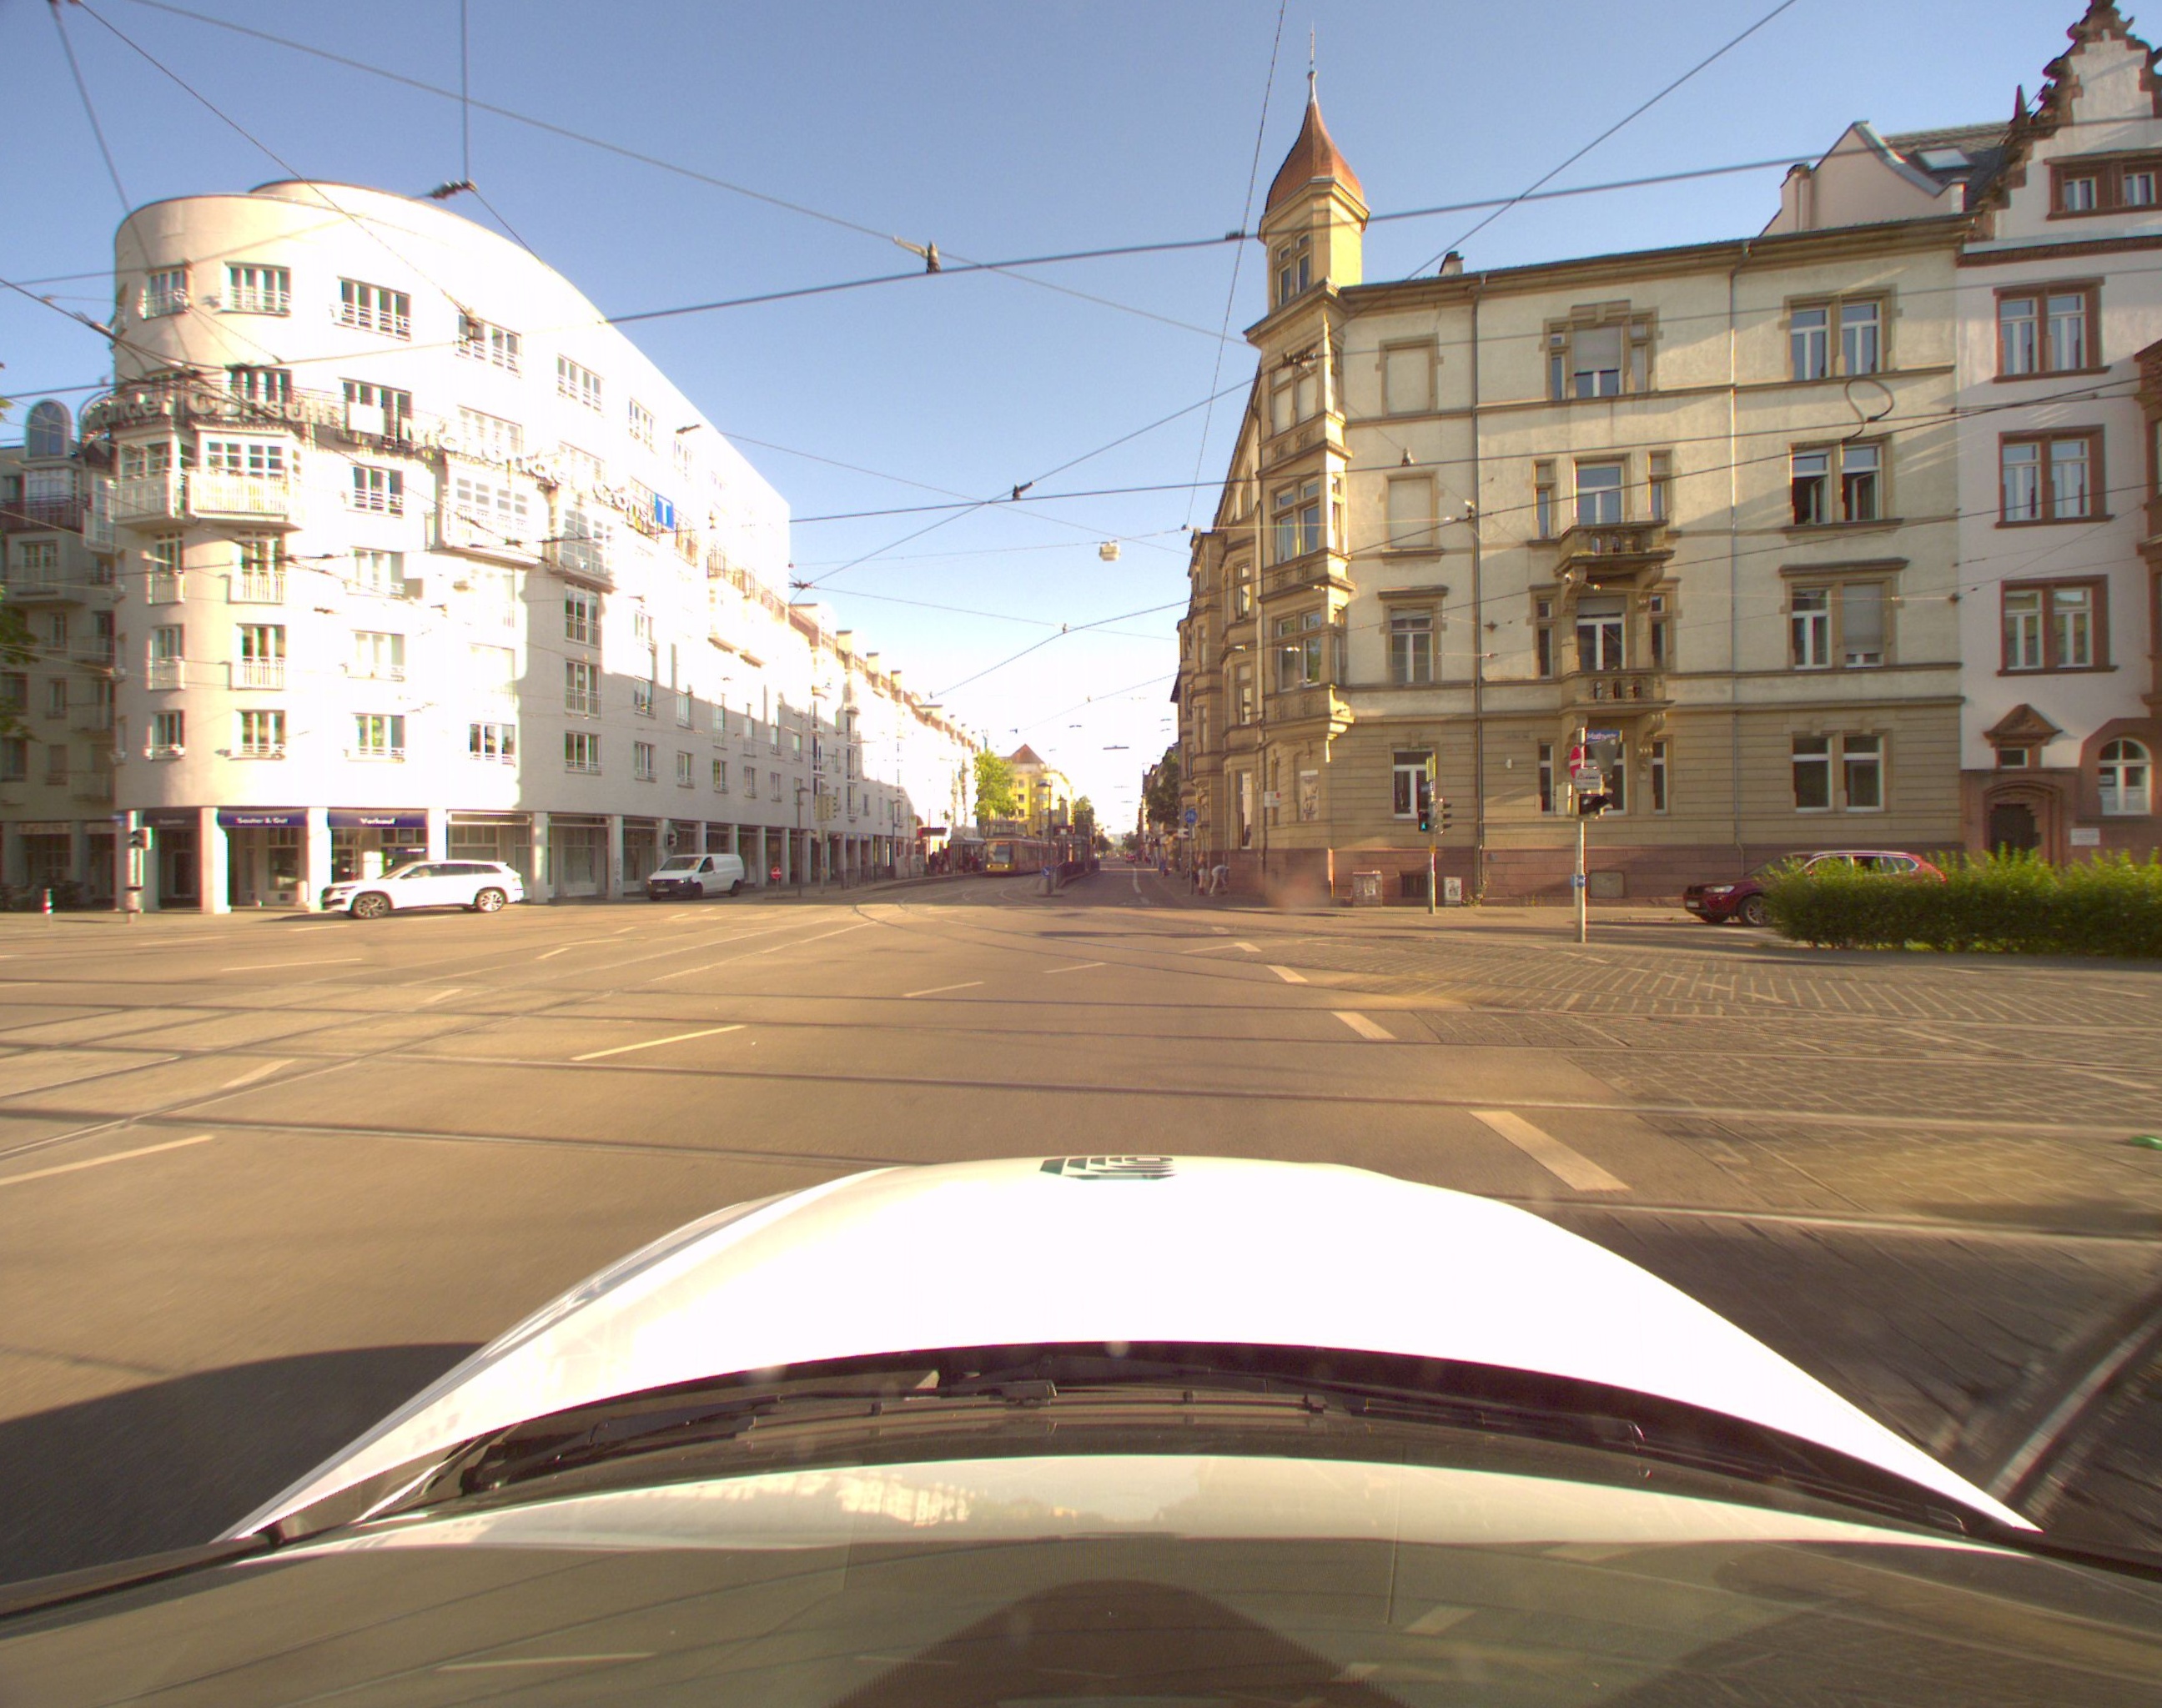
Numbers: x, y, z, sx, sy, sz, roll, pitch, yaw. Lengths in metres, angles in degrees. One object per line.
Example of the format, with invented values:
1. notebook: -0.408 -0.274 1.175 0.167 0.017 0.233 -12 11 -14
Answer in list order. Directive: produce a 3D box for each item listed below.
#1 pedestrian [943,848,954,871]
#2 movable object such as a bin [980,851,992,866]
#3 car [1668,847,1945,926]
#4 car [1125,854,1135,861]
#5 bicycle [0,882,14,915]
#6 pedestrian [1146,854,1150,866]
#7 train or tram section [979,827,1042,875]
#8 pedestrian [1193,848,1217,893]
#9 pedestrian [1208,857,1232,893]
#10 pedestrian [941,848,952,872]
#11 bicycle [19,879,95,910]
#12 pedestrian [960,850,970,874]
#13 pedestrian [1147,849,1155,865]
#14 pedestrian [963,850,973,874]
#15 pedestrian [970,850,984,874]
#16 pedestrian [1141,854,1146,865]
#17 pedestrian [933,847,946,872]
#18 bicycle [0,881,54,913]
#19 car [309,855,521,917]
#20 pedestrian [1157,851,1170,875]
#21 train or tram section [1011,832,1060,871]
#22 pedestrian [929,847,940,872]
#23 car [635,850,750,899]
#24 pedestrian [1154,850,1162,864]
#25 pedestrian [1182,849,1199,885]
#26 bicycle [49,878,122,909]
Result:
1. pedestrian: -9.714 0.426 59.794 0.698 1.691 0.667 0 0 -21
2. movable object such as a bin: -8.387 0.371 72.161 0.934 1.286 0.935 0 0 1
3. car: 16.022 0.717 18.250 4.231 1.632 1.950 0 -2 11
4. car: 10.211 0.759 169.553 1.985 1.449 4.003 0 0 3
5. bicycle: -38.432 1.557 28.277 1.931 1.107 0.821 -1 0 8
6. pedestrian: 10.506 0.933 128.618 0.556 1.796 0.652 -1 0 10
7. train or tram section: -5.696 -0.383 68.896 2.871 3.490 14.188 -2 1 5
8. pedestrian: 4.924 0.657 32.326 0.791 1.721 0.720 -2 -1 1
9. pedestrian: 5.386 0.805 31.553 0.791 1.331 0.720 -2 -1 1
10. pedestrian: -9.575 0.428 57.938 0.698 1.691 0.667 0 0 -21
11. bicycle: -38.323 1.519 30.494 1.932 1.107 0.820 -1 0 5
12. pedestrian: -9.099 0.631 63.748 0.693 1.904 0.672 0 0 0
13. pedestrian: 7.942 0.330 92.123 0.711 1.774 0.773 -3 1 0
14. pedestrian: -8.903 0.635 64.300 0.693 1.904 0.672 0 0 0
15. pedestrian: -8.412 0.645 65.887 0.928 1.904 0.881 0 0 0
16. pedestrian: 11.282 0.952 147.380 0.840 1.917 0.662 -1 0 1
17. pedestrian: -9.704 0.357 55.829 0.756 1.733 0.523 -1 0 45
18. bicycle: -38.292 1.543 29.260 1.931 1.107 0.821 -1 0 8
19. car: -19.820 0.882 24.446 1.974 1.620 4.539 -1 0 35
20. pedestrian: 5.793 0.611 57.270 0.759 1.645 0.833 -2 1 2
21. train or tram section: -4.437 -0.394 83.382 2.871 3.489 14.972 -2 1 5
22. pedestrian: -9.684 0.357 53.766 0.596 1.691 0.614 0 0 3
23. car: -16.051 0.779 34.048 1.985 1.837 5.350 -1 0 3
24. pedestrian: 8.703 0.333 92.448 0.711 1.602 0.773 -3 1 0
25. pedestrian: 5.873 0.691 43.742 0.797 1.824 0.798 -2 1 2
26. bicycle: -38.342 1.520 31.365 1.932 1.107 0.820 -1 0 5
